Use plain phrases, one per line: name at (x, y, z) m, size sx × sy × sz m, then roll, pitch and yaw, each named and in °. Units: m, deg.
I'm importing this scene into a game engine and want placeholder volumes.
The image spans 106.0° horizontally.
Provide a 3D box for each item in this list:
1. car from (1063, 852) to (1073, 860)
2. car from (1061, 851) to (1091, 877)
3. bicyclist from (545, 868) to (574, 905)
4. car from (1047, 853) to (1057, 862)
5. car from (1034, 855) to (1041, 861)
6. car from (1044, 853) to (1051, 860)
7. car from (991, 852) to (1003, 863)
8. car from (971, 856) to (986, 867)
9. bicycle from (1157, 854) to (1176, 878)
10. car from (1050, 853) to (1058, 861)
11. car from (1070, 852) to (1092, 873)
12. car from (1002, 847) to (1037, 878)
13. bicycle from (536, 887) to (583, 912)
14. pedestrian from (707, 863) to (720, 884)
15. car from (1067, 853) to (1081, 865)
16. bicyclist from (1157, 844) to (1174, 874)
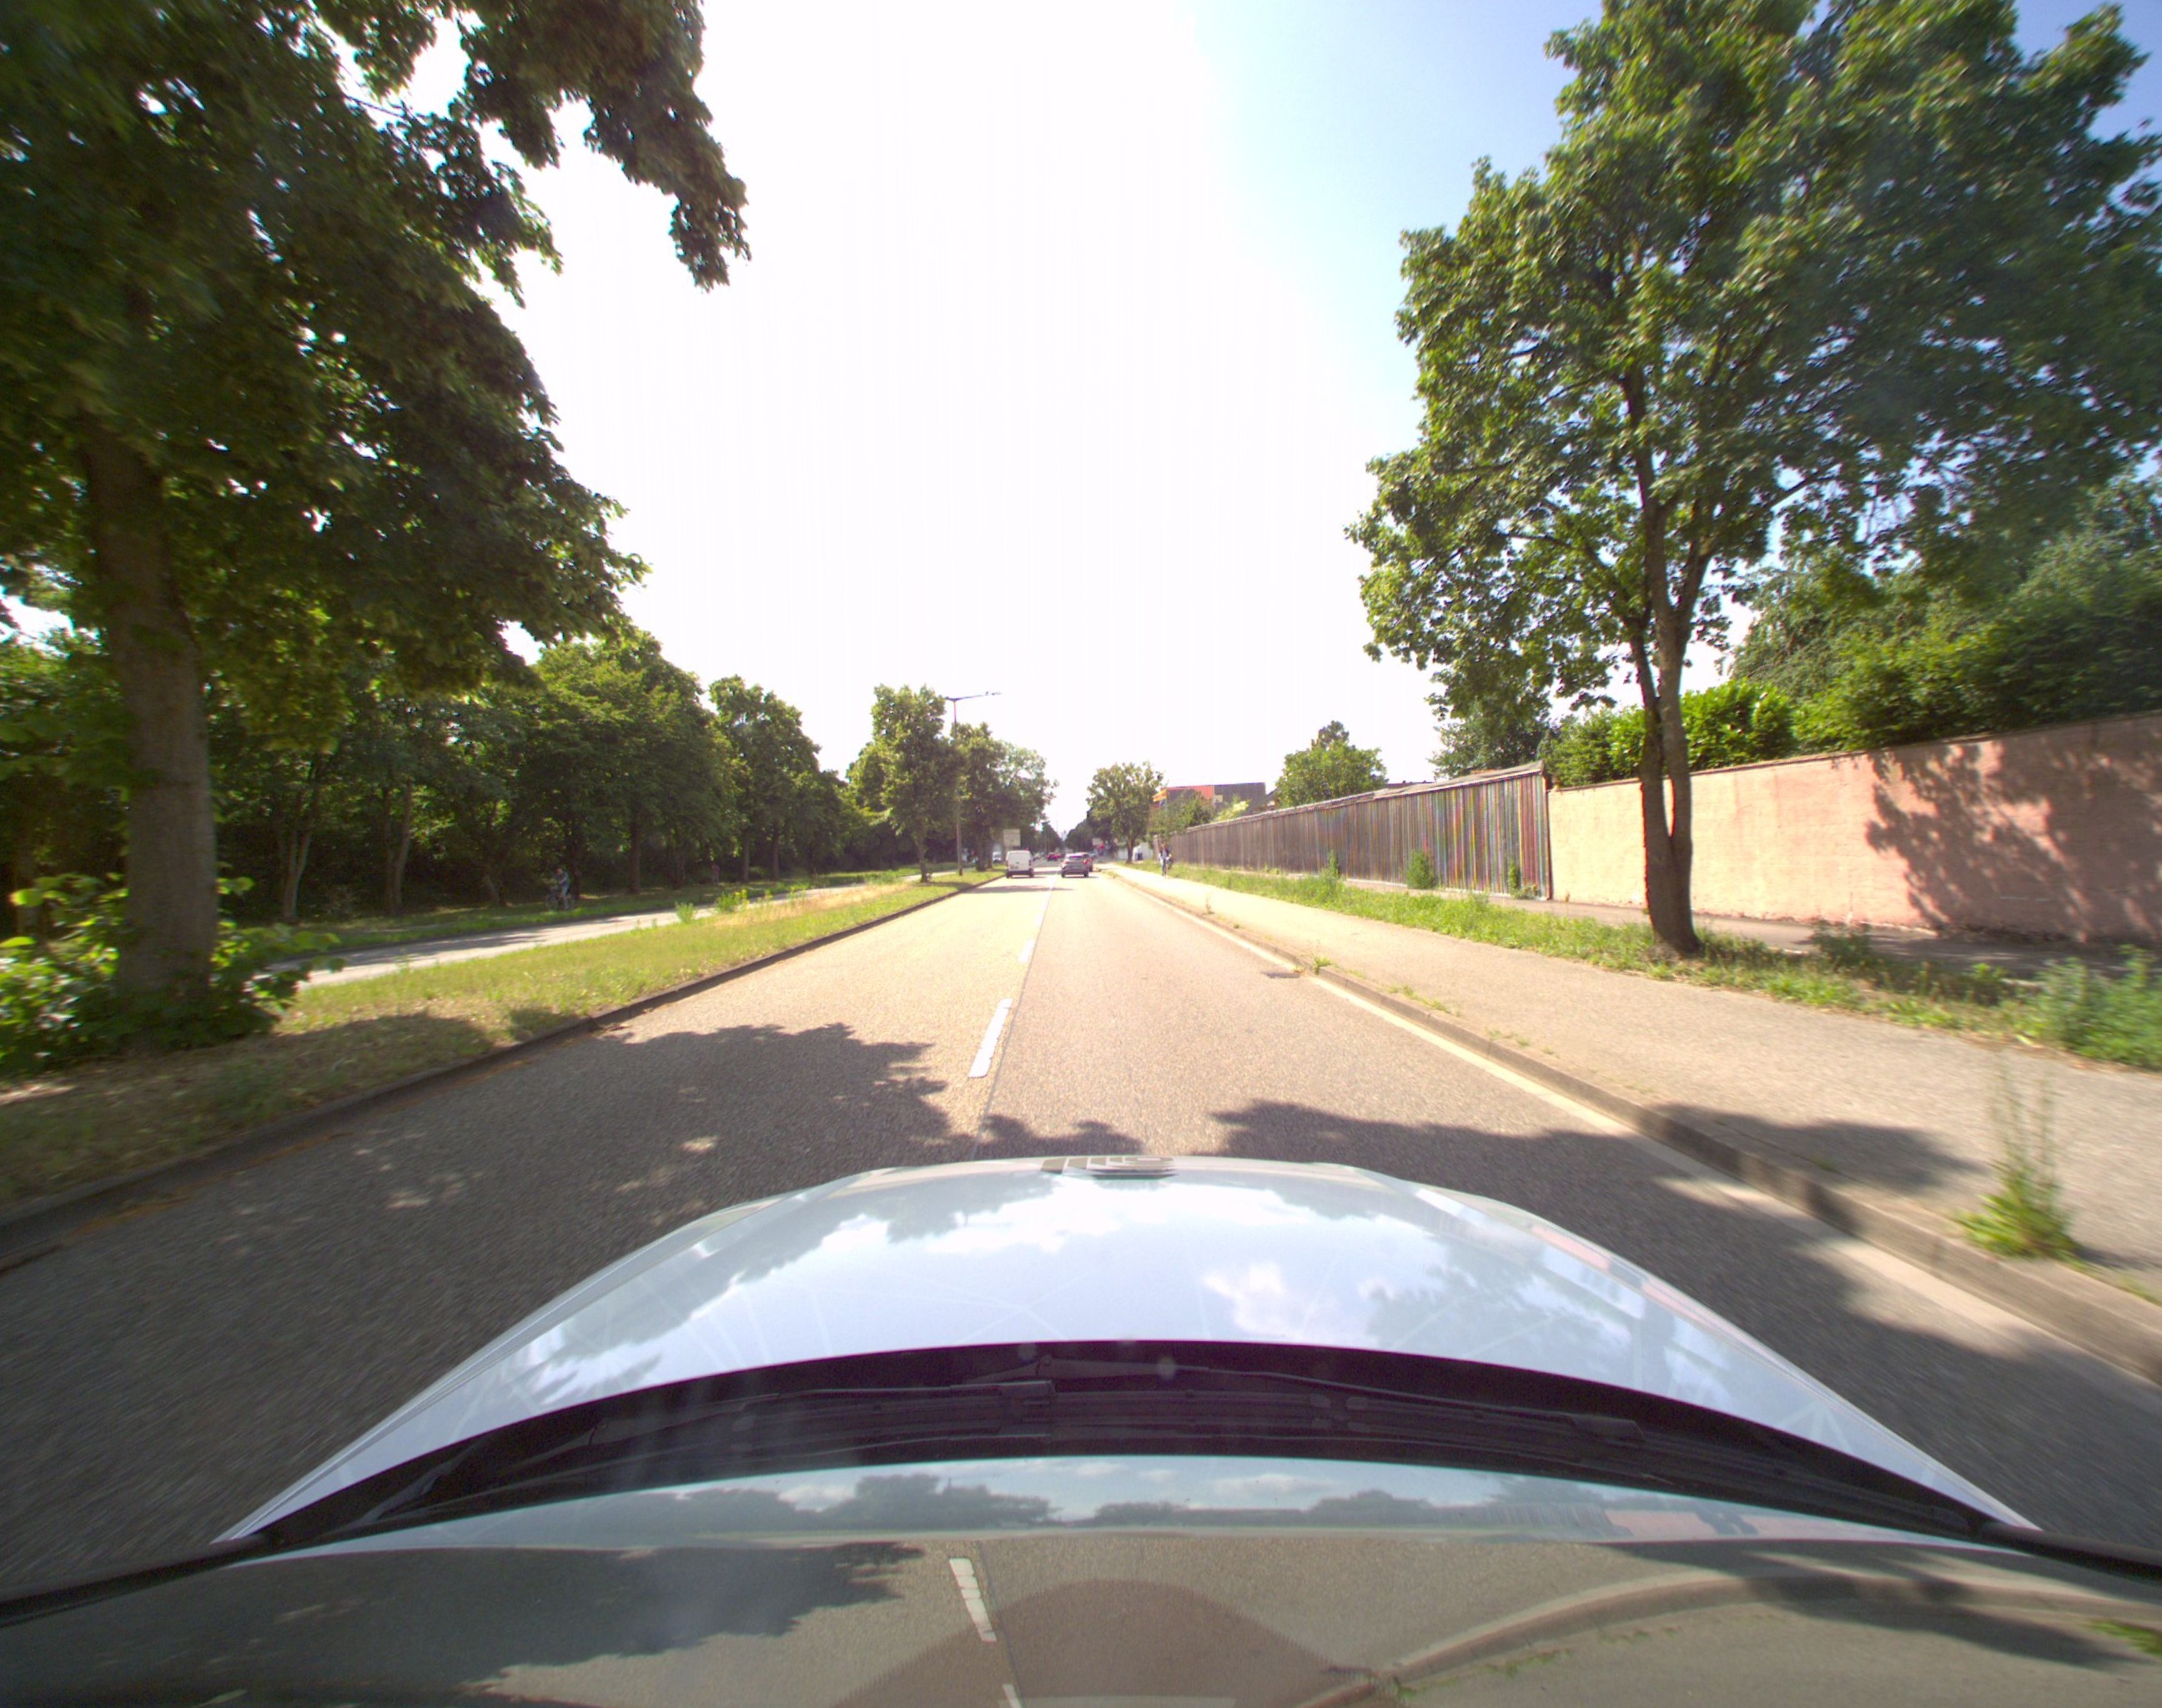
car at (-2.838, 0.455, 178.385) m, size 1.988 × 1.772 × 4.145 m, roll -1°, pitch 0°, yaw -1°
car at (-0.317, 0.660, 54.306) m, size 1.870 × 1.589 × 4.183 m, roll -2°, pitch 0°, yaw -1°
bicyclist at (-21.045, 1.291, 32.867) m, size 0.616 × 1.448 × 0.730 m, roll -2°, pitch 0°, yaw 1°
car at (-6.322, 0.810, 176.170) m, size 1.935 × 1.767 × 4.144 m, roll -2°, pitch 0°, yaw -1°
car at (-12.860, 1.156, 239.316) m, size 1.887 × 1.589 × 4.108 m, roll -2°, pitch 0°, yaw -1°
car at (-9.295, 0.711, 229.343) m, size 1.774 × 1.767 × 4.149 m, roll -2°, pitch 0°, yaw -1°
car at (-18.916, 0.783, 184.159) m, size 2.039 × 2.431 × 5.248 m, roll -2°, pitch 0°, yaw -1°
car at (-17.517, 1.266, 139.273) m, size 1.988 × 1.705 × 4.191 m, roll -2°, pitch 0°, yaw -1°
bicycle at (4.196, 0.576, 40.158) m, size 0.644 × 1.067 × 2.278 m, roll -5°, pitch 0°, yaw 0°
car at (-6.195, 0.724, 186.432) m, size 1.774 × 1.767 × 4.167 m, roll -2°, pitch 0°, yaw -1°
car at (-0.014, 0.695, 69.317) m, size 1.774 × 1.643 × 4.195 m, roll -2°, pitch 0°, yaw -1°
car at (-4.184, 0.550, 56.115) m, size 2.060 × 1.912 × 4.644 m, roll -2°, pitch 0°, yaw -1°
bicycle at (-21.024, 1.810, 32.876) m, size 0.616 × 0.878 × 1.915 m, roll -2°, pitch 0°, yaw 2°
pedestrian at (-27.854, 1.479, 61.785) m, size 0.642 × 1.630 × 0.656 m, roll -1°, pitch 0°, yaw -1°
car at (-1.039, 0.725, 112.875) m, size 1.875 × 1.587 × 3.998 m, roll -2°, pitch 0°, yaw -1°
bicyclist at (4.167, 0.227, 40.163) m, size 0.652 × 1.412 × 0.986 m, roll -5°, pitch 0°, yaw 0°
